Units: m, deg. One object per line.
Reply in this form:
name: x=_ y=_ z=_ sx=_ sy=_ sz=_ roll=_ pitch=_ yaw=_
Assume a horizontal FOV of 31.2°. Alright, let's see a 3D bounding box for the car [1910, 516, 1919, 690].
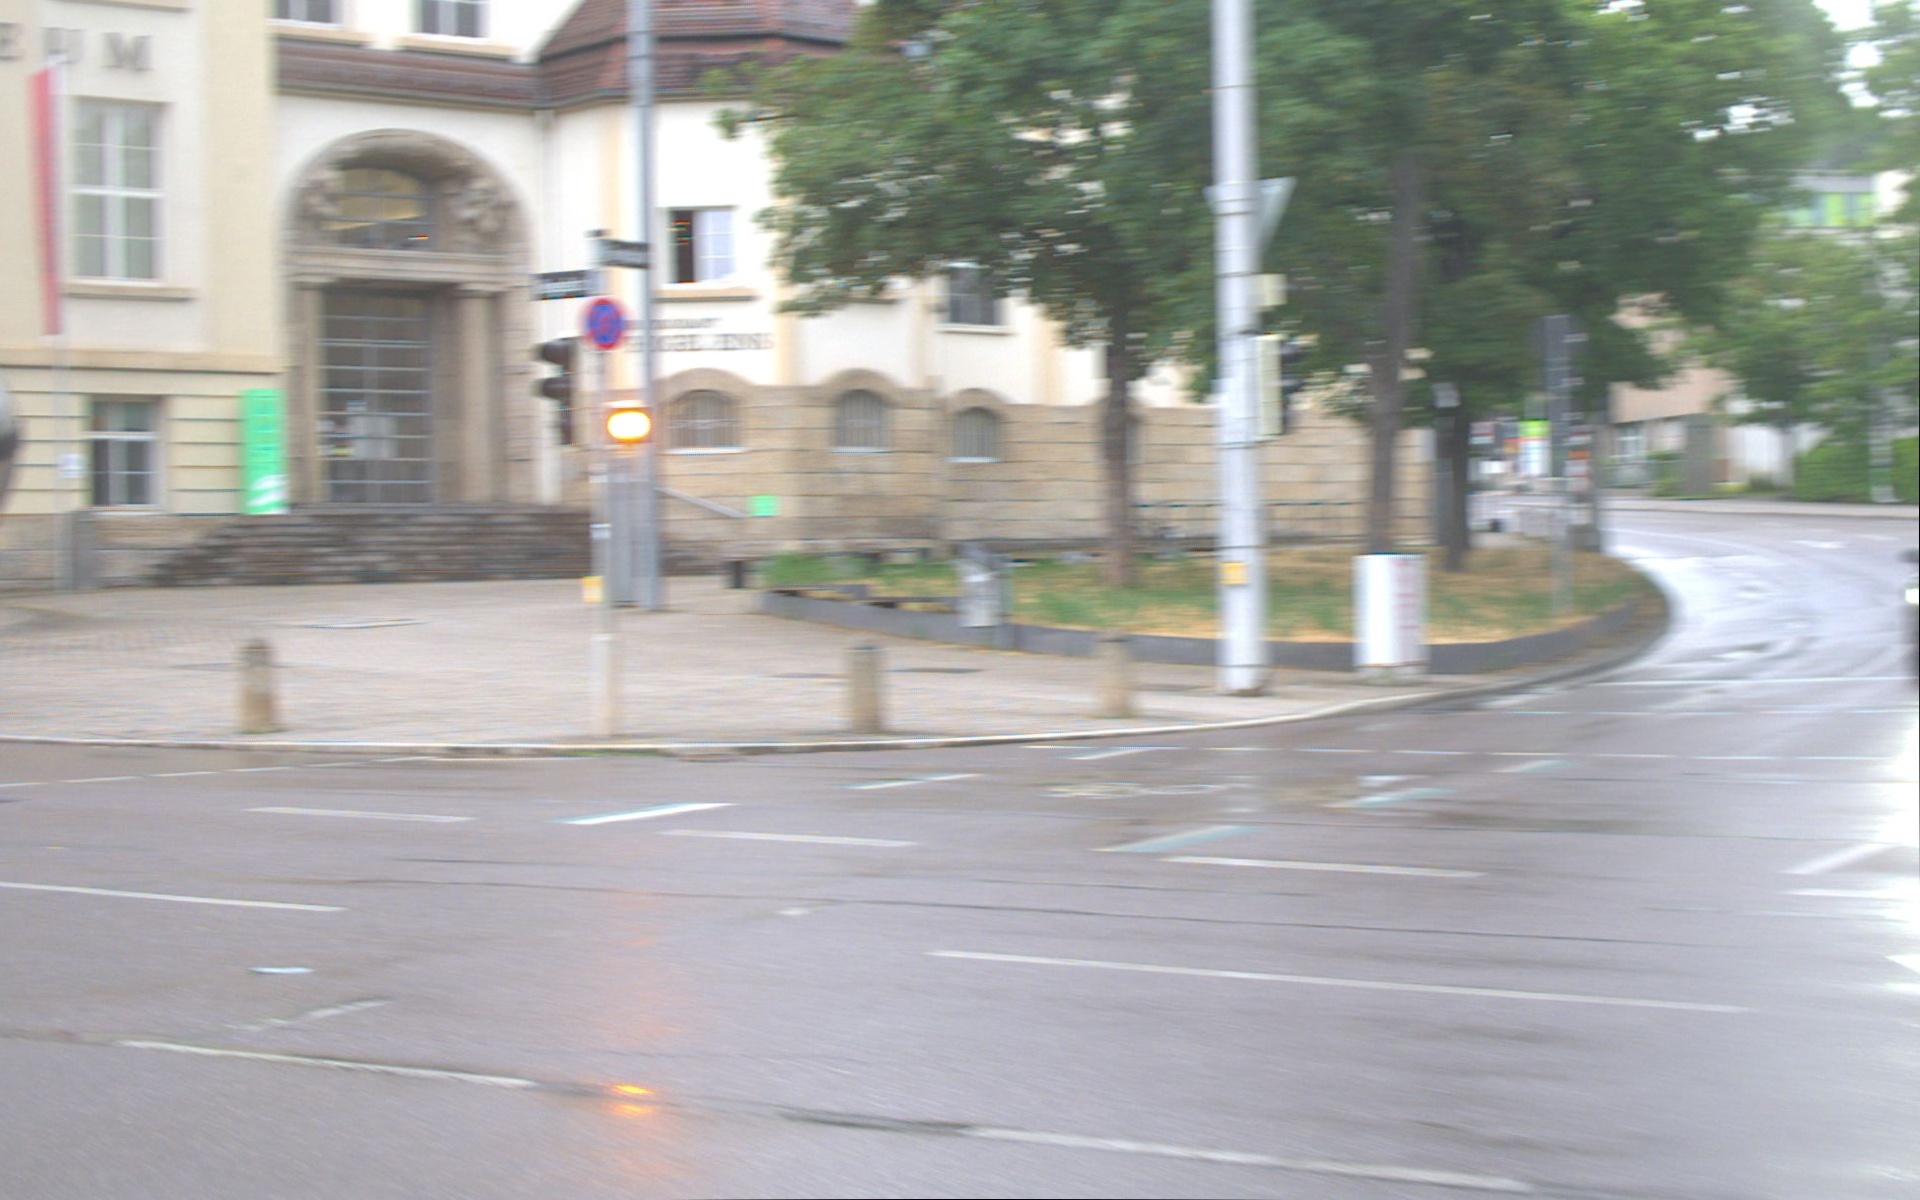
car: x=10.238 y=-0.064 z=32.805 sx=1.869 sy=1.559 sz=4.272 roll=-1 pitch=2 yaw=20
